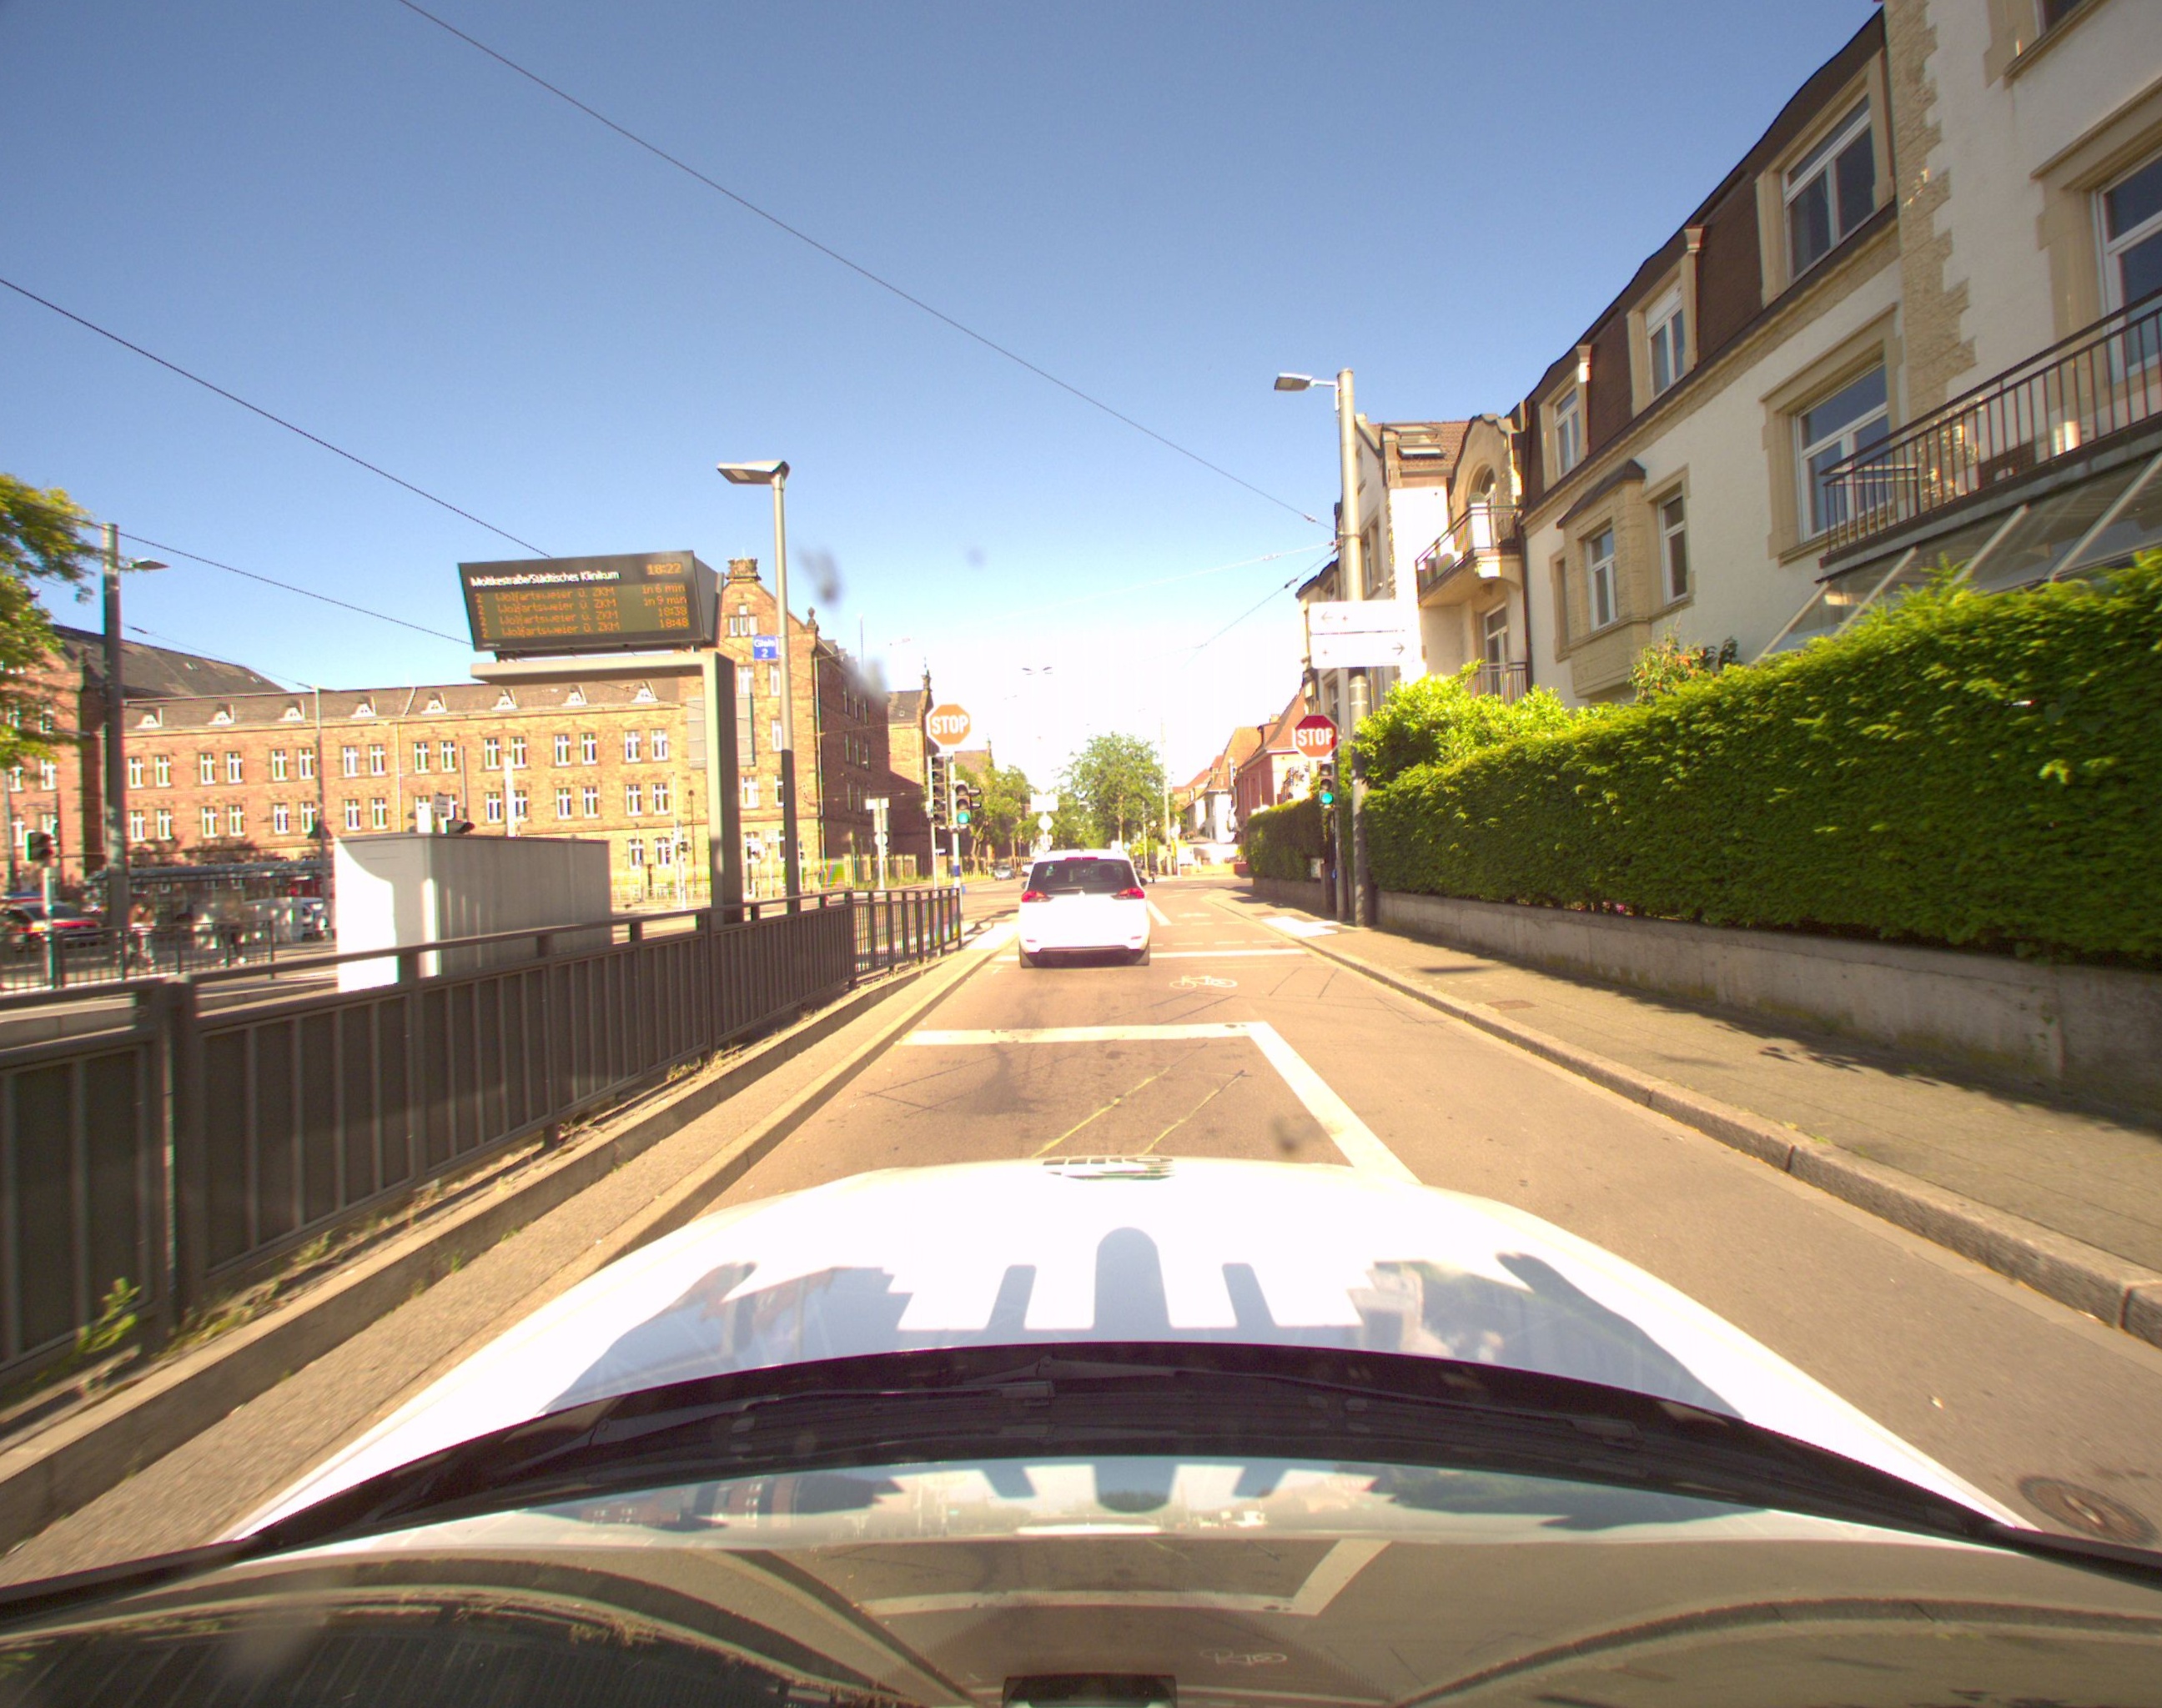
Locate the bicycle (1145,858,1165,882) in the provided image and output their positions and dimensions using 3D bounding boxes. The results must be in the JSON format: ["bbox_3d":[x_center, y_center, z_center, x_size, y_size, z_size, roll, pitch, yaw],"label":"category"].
[{"bbox_3d":[3.779,0.826,41.718,0.826,1.154,2.095,-2,-1,2],"label":"bicycle"}]

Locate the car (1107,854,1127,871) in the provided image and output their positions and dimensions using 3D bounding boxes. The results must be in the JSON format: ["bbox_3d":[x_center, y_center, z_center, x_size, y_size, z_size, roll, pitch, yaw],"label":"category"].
[{"bbox_3d":[3.681,0.844,82.432,1.768,1.632,3.885,-2,-1,5],"label":"car"}]

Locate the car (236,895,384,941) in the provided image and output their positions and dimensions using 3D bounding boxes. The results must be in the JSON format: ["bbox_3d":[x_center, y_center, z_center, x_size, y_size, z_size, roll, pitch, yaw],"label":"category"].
[{"bbox_3d":[-30.032,2.486,31.804,4.046,1.522,1.879,-2,-1,4],"label":"car"}]

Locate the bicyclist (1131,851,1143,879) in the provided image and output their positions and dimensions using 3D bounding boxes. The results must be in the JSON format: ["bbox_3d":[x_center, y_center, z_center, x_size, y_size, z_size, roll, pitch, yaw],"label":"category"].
[{"bbox_3d":[3.407,0.658,49.398,0.682,1.634,1.017,-2,-1,4],"label":"bicyclist"}]

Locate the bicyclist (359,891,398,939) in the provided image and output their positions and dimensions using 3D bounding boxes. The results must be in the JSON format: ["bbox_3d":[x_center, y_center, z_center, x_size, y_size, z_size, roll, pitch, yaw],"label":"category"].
[{"bbox_3d":[-24.944,2.152,28.919,0.631,1.636,0.802,-2,-1,2],"label":"bicyclist"}]

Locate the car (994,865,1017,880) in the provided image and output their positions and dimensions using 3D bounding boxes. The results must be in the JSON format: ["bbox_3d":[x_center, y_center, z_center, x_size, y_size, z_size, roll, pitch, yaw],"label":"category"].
[{"bbox_3d":[-7.563,1.817,81.804,1.574,1.441,3.588,-2,-1,4],"label":"car"}]

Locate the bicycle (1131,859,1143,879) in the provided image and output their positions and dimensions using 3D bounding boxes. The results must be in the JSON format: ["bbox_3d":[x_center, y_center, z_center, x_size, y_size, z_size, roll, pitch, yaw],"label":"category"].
[{"bbox_3d":[3.419,0.886,49.462,0.682,1.157,1.621,-2,-1,4],"label":"bicycle"}]

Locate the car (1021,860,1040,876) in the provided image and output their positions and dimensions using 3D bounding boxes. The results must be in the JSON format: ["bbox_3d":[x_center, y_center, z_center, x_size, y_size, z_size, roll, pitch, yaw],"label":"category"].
[{"bbox_3d":[-6.092,1.664,98.027,1.886,1.783,3.881,-2,-1,1],"label":"car"}]

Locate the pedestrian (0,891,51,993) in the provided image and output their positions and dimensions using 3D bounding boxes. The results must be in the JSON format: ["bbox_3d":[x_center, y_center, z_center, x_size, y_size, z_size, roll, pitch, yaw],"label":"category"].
[{"bbox_3d":[-20.454,1.663,15.315,0.723,1.861,1.097,-2,-1,4],"label":"pedestrian"}]

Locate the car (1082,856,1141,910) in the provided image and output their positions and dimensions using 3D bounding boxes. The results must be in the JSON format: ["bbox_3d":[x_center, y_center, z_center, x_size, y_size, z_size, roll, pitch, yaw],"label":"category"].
[{"bbox_3d":[0.996,0.831,24.956,1.579,1.420,3.904,-3,0,4],"label":"car"}]

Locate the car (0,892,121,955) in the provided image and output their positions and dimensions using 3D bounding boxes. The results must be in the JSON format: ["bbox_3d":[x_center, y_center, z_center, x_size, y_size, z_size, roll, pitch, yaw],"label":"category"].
[{"bbox_3d":[-44.740,2.963,34.663,5.011,2.453,2.261,-2,-1,1],"label":"car"}]

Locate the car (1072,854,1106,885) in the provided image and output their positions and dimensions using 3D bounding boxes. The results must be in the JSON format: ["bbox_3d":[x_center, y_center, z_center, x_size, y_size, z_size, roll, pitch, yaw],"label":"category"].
[{"bbox_3d":[0.512,0.886,47.012,1.769,1.632,3.882,-2,-1,2],"label":"car"}]

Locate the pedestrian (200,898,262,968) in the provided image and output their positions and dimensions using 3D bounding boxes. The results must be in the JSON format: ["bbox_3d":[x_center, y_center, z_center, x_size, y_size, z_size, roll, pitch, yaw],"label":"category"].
[{"bbox_3d":[-20.301,1.871,19.452,0.568,1.569,0.836,-2,0,22],"label":"pedestrian"}]

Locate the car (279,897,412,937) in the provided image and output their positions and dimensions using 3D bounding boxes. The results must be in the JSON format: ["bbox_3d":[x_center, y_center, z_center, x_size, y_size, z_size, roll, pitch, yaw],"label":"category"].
[{"bbox_3d":[-31.472,2.694,34.931,4.046,1.447,1.879,-2,-1,4],"label":"car"}]

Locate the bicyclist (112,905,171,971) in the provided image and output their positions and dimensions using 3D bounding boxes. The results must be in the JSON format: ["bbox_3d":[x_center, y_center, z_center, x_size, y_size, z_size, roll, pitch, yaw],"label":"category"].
[{"bbox_3d":[-21.167,1.878,18.363,0.692,1.383,0.530,-2,-1,-24],"label":"bicyclist"}]

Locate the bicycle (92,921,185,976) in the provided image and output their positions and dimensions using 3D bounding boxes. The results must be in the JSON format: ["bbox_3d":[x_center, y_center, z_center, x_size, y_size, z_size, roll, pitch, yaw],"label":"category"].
[{"bbox_3d":[-21.136,2.085,18.306,0.694,1.049,1.656,-2,-1,-24],"label":"bicycle"}]

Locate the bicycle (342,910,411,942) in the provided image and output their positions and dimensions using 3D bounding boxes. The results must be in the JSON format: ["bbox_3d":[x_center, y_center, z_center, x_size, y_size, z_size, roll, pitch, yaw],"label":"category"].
[{"bbox_3d":[-24.998,2.550,28.912,1.728,1.013,0.802,-2,-1,2],"label":"bicycle"}]

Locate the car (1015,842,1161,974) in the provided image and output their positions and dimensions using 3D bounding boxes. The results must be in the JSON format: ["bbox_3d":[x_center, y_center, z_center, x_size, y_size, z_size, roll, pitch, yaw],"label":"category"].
[{"bbox_3d":[0.186,0.726,12.505,1.827,1.642,3.921,-2,-1,3],"label":"car"}]

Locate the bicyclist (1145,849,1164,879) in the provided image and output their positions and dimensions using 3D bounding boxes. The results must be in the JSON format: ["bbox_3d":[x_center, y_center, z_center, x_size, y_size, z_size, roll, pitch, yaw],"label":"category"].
[{"bbox_3d":[3.783,0.525,41.962,0.818,1.501,0.934,-2,-1,1],"label":"bicyclist"}]
